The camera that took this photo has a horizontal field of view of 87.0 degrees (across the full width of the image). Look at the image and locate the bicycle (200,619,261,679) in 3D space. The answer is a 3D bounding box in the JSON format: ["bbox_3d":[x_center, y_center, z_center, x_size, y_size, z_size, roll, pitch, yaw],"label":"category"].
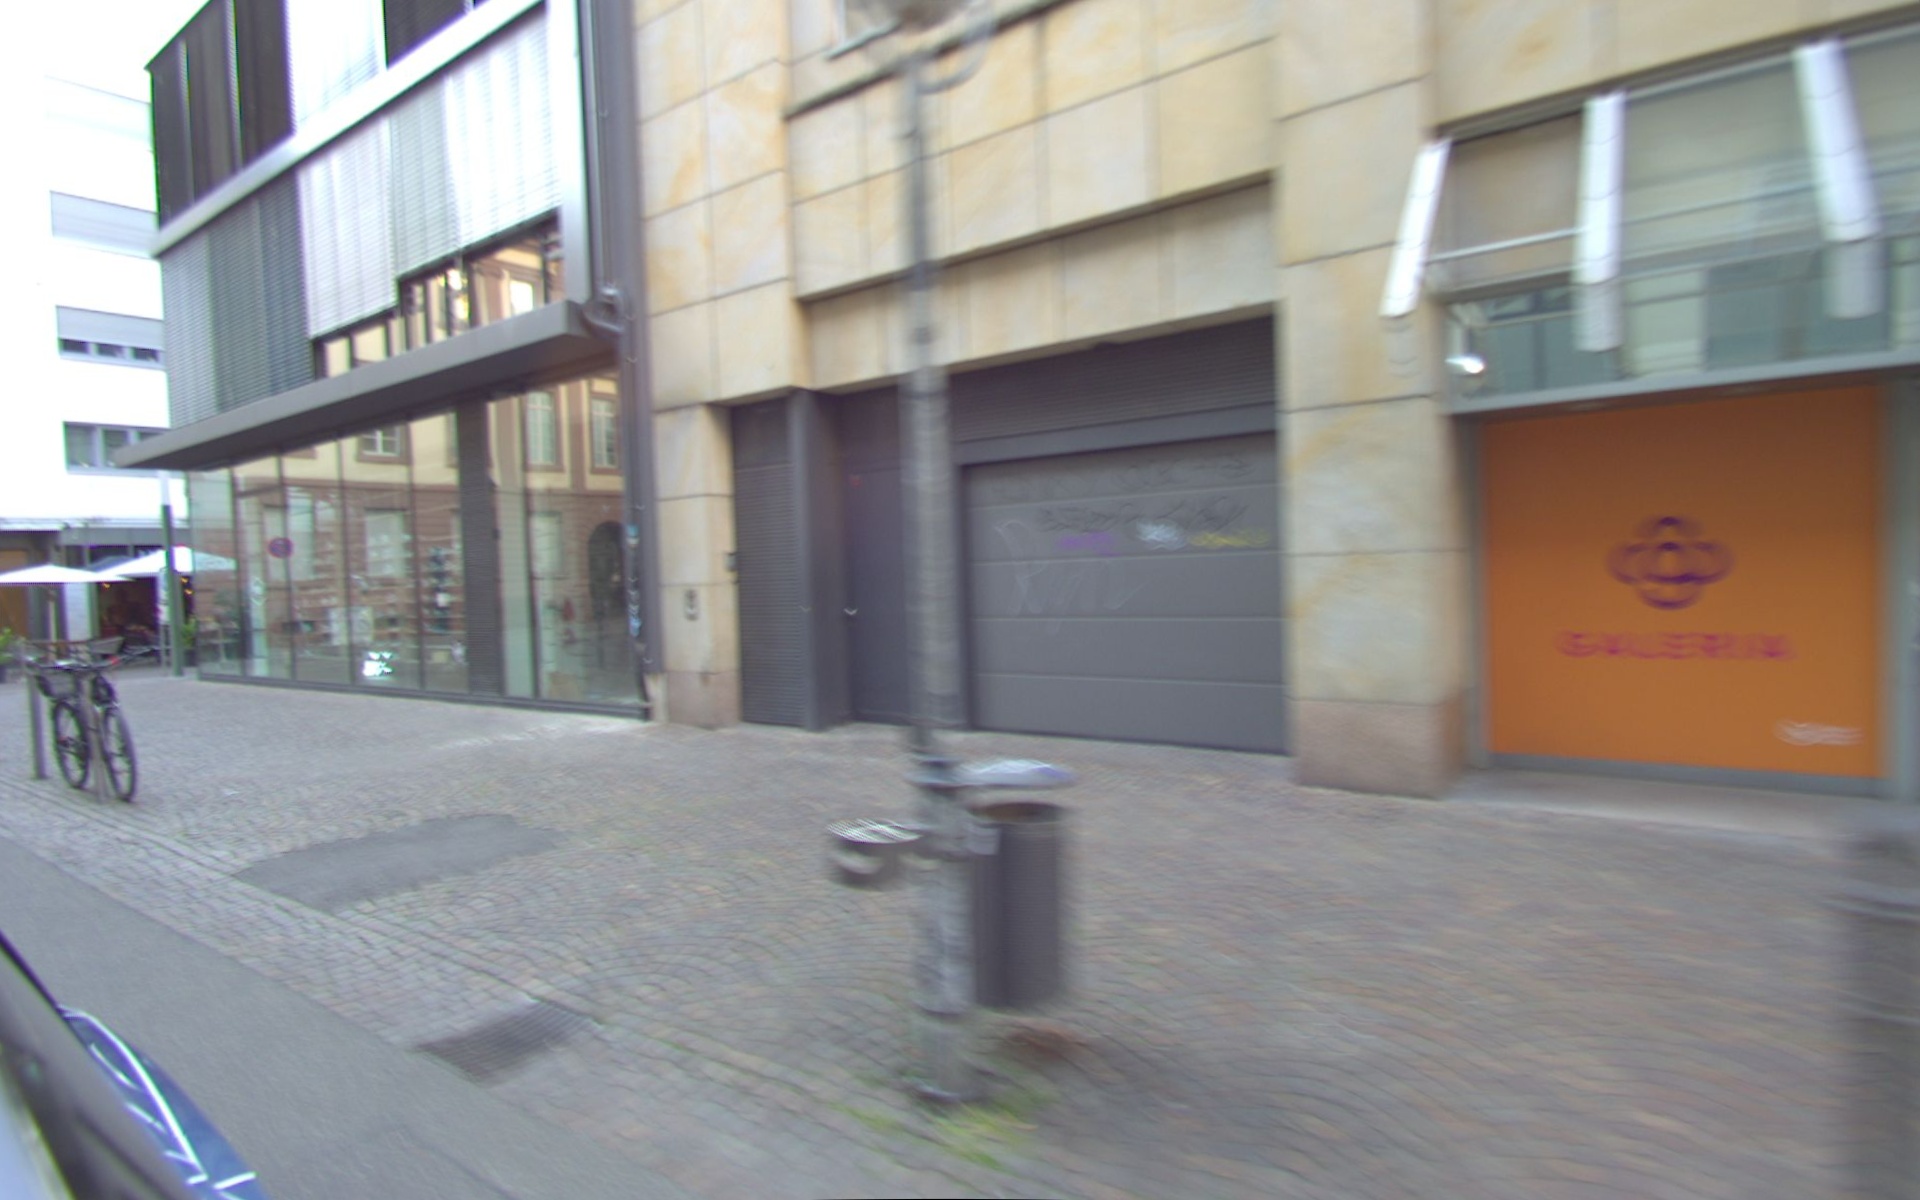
[{"bbox_3d":[-15.092,1.019,20.916,1.699,1.145,0.461,-4,0,36],"label":"bicycle"}]

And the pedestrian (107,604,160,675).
[{"bbox_3d":[-20.300,0.963,24.860,0.790,1.661,0.718,-2,1,31],"label":"pedestrian"}]

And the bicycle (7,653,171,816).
[{"bbox_3d":[-6.914,1.007,8.001,1.925,1.141,0.407,-2,1,33],"label":"bicycle"}]
